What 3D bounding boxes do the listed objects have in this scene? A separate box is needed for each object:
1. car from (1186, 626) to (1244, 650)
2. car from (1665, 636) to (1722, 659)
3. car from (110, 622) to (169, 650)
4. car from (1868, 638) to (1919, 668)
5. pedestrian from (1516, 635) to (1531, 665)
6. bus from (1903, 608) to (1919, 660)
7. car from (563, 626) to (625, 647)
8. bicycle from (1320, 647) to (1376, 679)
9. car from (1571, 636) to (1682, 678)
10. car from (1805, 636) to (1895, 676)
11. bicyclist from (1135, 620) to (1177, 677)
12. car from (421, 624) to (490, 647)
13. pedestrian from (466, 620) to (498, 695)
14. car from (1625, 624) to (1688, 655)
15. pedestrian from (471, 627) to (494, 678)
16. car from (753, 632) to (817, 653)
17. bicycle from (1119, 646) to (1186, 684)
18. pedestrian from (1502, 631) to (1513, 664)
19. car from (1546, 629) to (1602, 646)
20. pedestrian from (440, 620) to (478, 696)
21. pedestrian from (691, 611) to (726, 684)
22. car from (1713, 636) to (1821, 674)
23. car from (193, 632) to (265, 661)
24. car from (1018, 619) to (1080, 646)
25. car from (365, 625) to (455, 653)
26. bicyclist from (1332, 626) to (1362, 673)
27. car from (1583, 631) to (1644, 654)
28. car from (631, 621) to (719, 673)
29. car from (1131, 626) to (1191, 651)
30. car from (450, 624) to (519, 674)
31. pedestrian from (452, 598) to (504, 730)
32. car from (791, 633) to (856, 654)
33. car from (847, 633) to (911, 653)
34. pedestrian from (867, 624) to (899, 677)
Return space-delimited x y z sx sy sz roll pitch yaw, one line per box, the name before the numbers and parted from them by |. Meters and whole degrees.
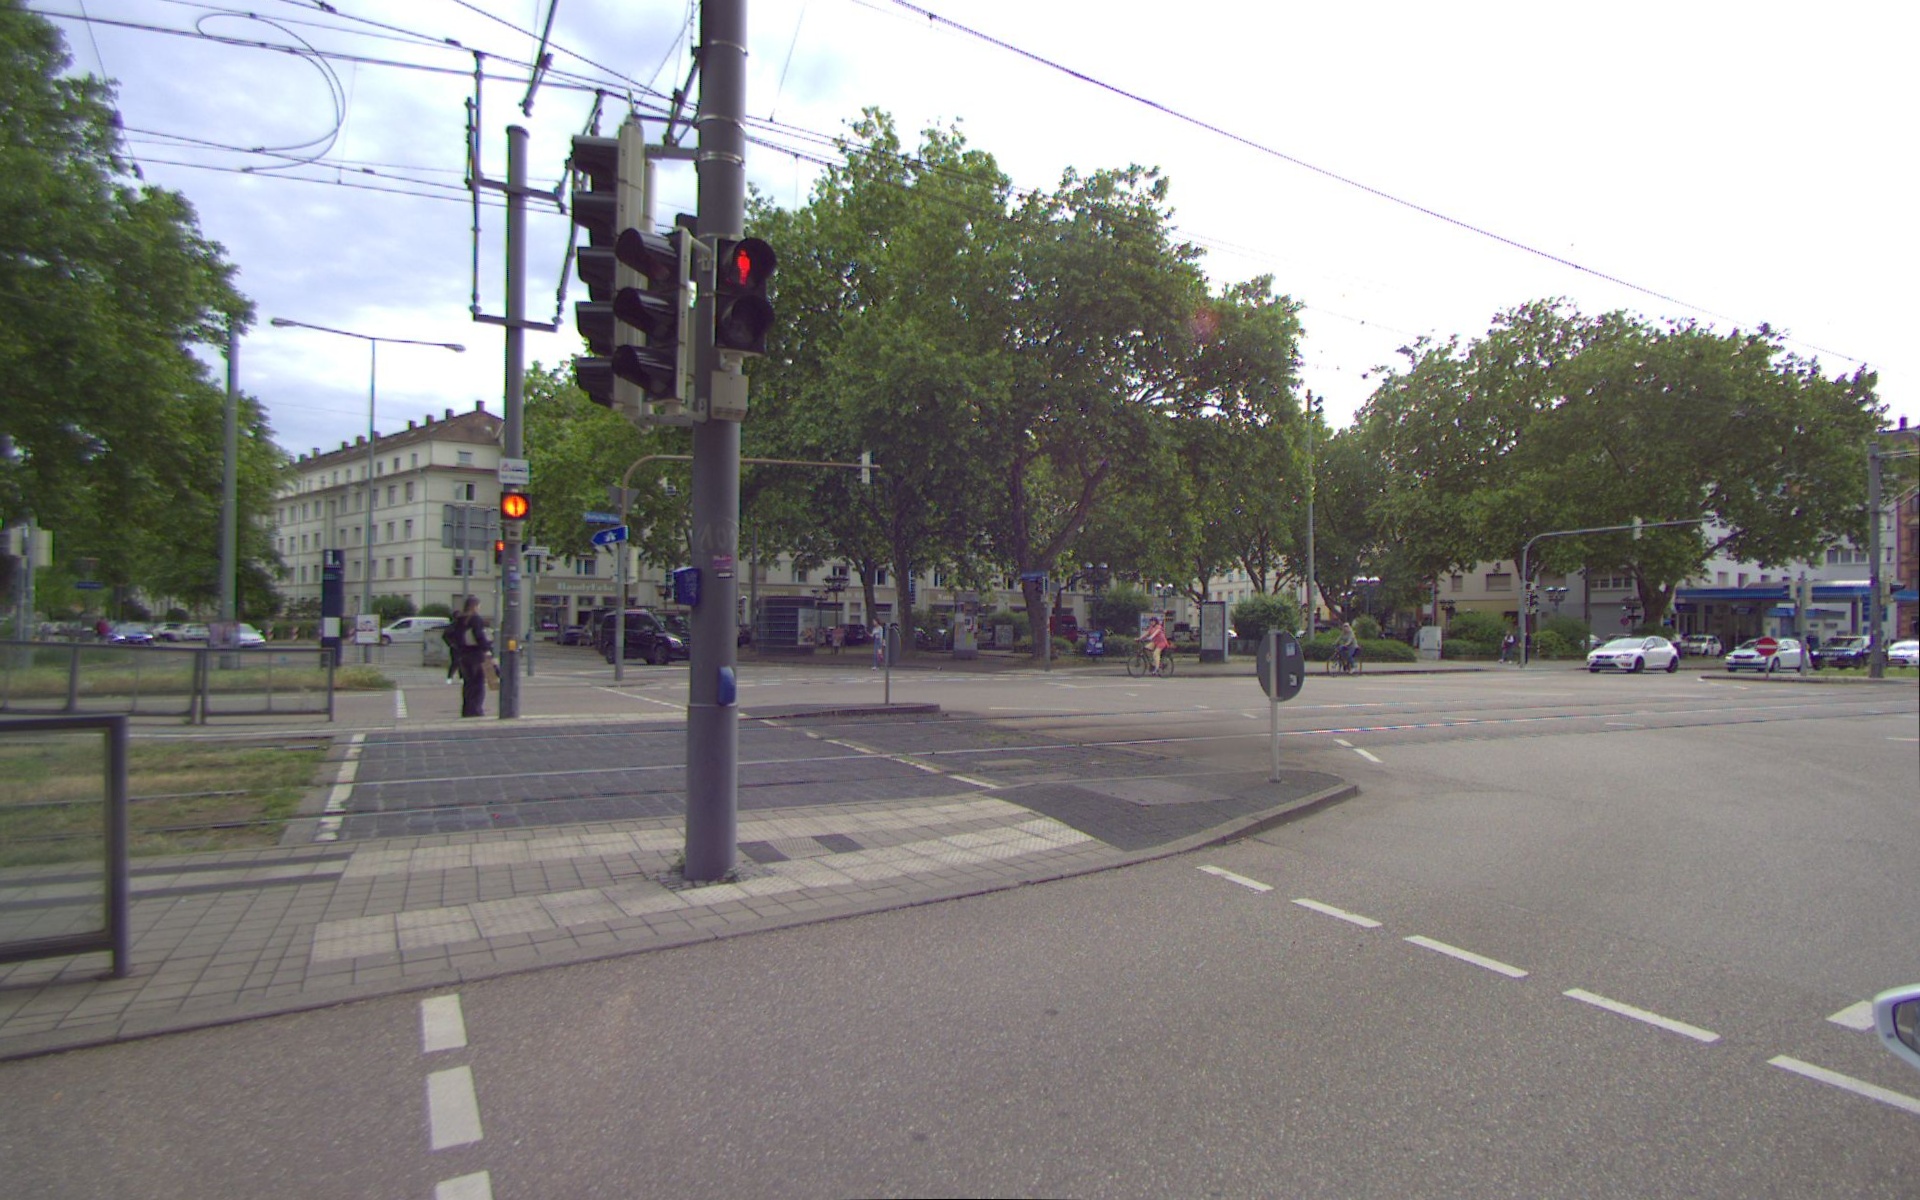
car | 23.352 3.424 92.157 4.766 2.129 2.071 -1 -2 44
car | 46.771 3.003 64.045 3.363 1.376 1.695 1 0 -29
car | -52.467 2.273 64.196 3.934 1.706 1.929 -1 -2 35
car | 49.236 2.738 52.354 3.843 1.416 1.695 1 0 -29
pedestrian | 25.817 2.296 46.002 0.465 1.343 0.452 1 -1 -36
bus | 59.462 2.030 58.393 12.231 2.894 3.267 1 0 -30
car | -26.252 2.597 72.140 3.953 1.505 1.788 1 -1 -30
bicycle | 13.382 2.169 34.663 1.969 1.078 0.724 1 -3 -30
car | 25.920 2.170 39.043 4.361 1.467 1.833 1 0 -30
car | 42.940 2.665 48.447 5.087 1.807 1.695 1 0 -30
bicyclist | 5.818 1.441 29.850 0.982 1.659 0.702 1 -3 -30
car | -34.472 2.435 68.644 3.919 1.505 1.804 0 -1 10
pedestrian | -10.678 1.271 22.456 0.360 1.633 0.504 1 0 28
car | 46.095 2.600 66.470 3.953 2.040 1.984 1 -2 -30
pedestrian | -13.201 1.450 27.750 0.384 1.383 0.416 1 0 33
car | -12.254 2.919 70.049 4.766 1.408 1.988 -1 -2 44
bicycle | 5.710 1.922 29.762 1.969 1.078 0.724 2 -3 -31
pedestrian | 25.401 2.201 46.604 0.370 1.498 0.358 1 -1 -36
car | 43.675 2.659 71.418 3.962 1.190 1.720 1 -2 -30
pedestrian | -10.991 1.256 22.023 0.517 1.633 0.523 1 0 28
pedestrian | -6.749 1.261 26.952 0.682 1.911 0.682 1 0 -34
car | 35.840 2.382 44.561 5.635 1.546 1.832 1 0 -30
car | -37.774 2.373 51.913 3.933 1.439 1.756 -1 -2 34
car | 7.107 2.570 80.389 4.766 2.129 2.071 -1 -2 44
car | -34.862 2.448 63.722 4.788 1.686 1.979 1 -2 -38
bicyclist | 13.324 1.708 34.560 0.748 1.582 0.580 1 -3 -30
car | 44.899 2.912 69.003 3.953 1.486 1.984 1 -1 -30
car | -10.162 1.704 35.679 1.894 1.741 3.703 1 -4 -36
car | 17.342 3.313 86.846 4.766 2.129 2.071 -1 -2 44
car | -17.364 1.801 36.574 1.648 1.741 3.703 1 -4 -36
pedestrian | -6.722 0.870 13.997 0.619 1.773 0.652 1 0 -28
car | -9.752 3.067 71.427 4.766 1.408 2.071 -1 -2 44
car | -6.006 3.160 74.010 4.766 1.408 2.071 -1 -2 44
pedestrian | -2.499 1.633 32.644 0.748 1.712 0.799 1 -1 -34
